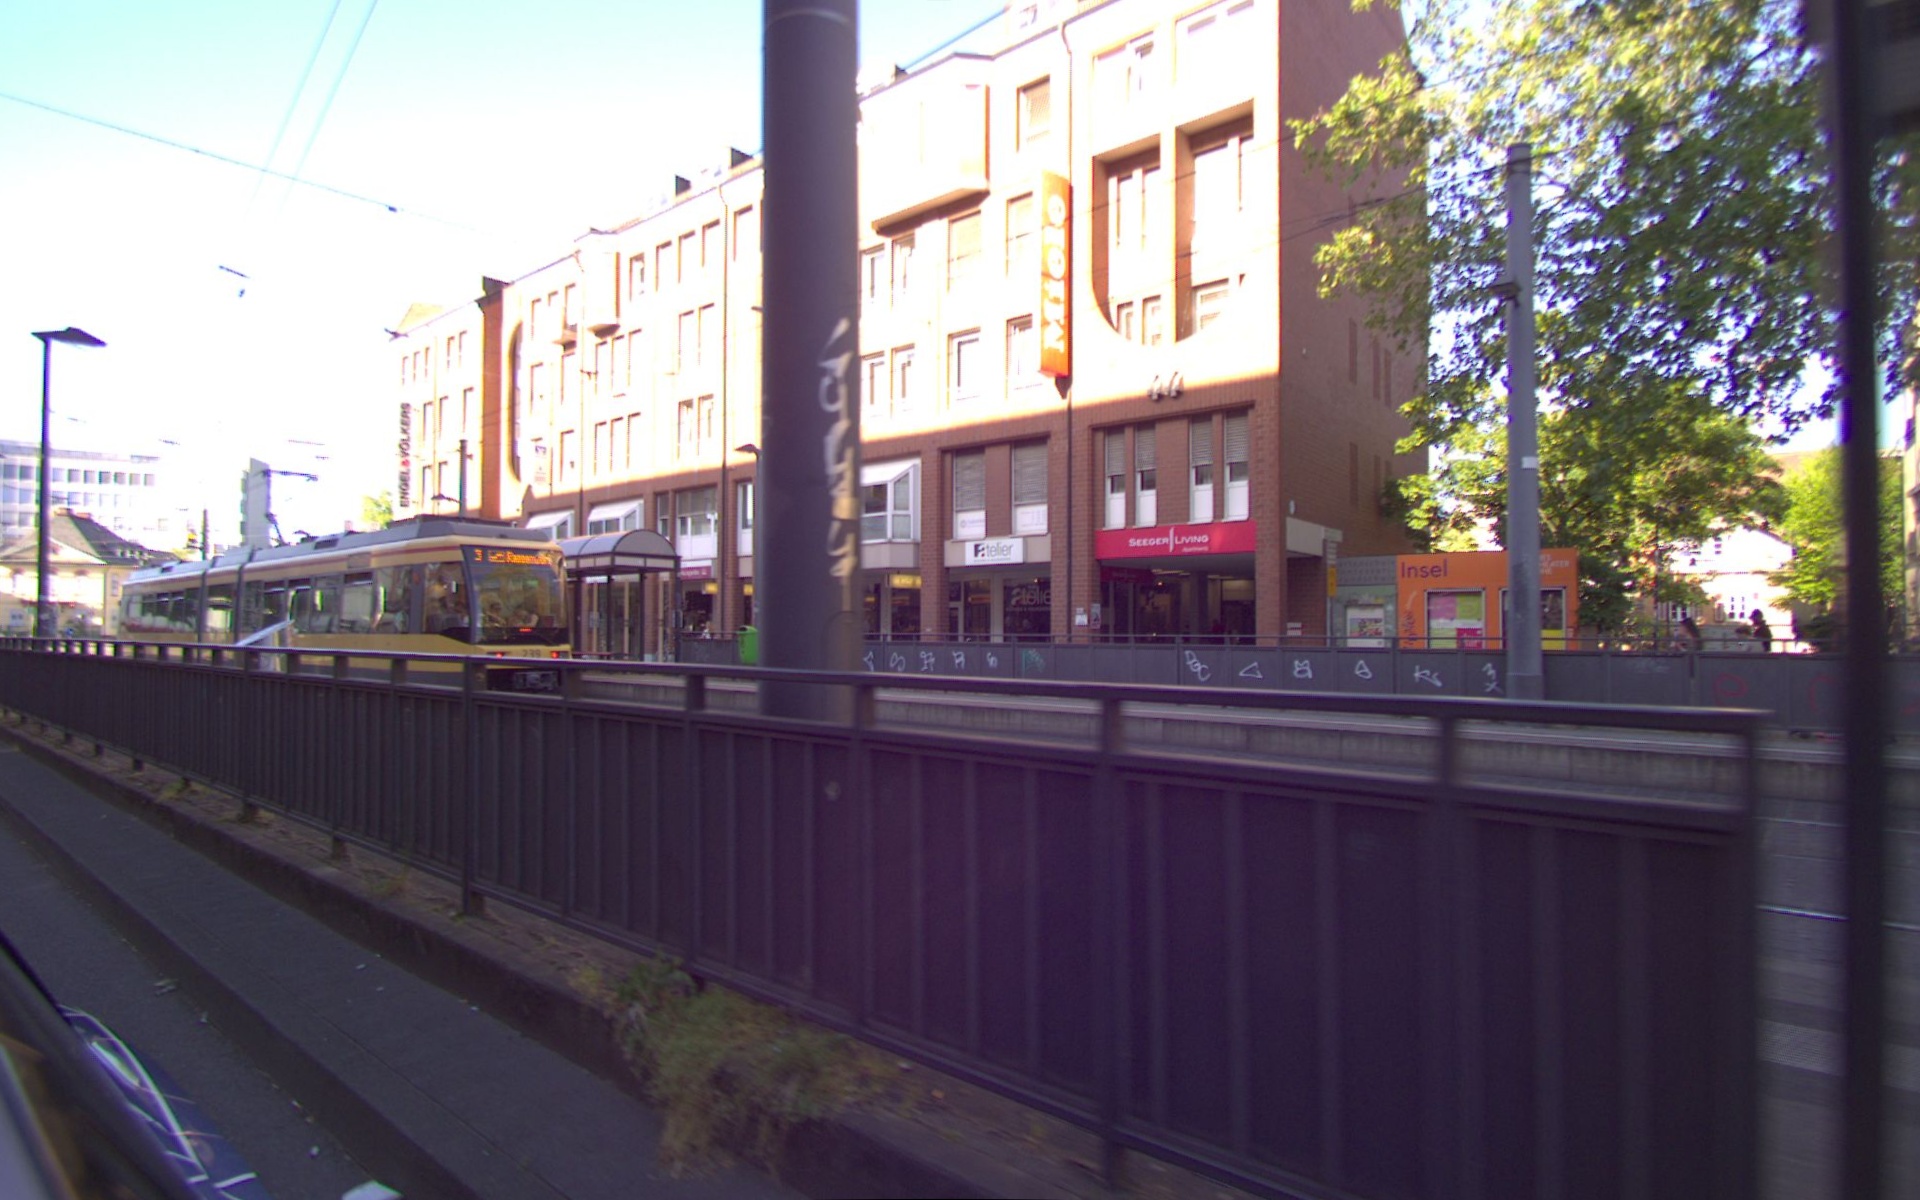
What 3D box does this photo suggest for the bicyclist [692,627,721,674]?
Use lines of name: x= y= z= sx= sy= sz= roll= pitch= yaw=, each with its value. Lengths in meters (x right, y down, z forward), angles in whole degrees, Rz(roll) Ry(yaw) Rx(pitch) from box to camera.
bicyclist: x=-8.042 y=1.592 z=32.115 sx=0.840 sy=1.478 sz=0.500 roll=-2 pitch=-2 yaw=41

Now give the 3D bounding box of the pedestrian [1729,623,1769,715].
pedestrian: x=13.698 y=1.180 z=17.571 sx=0.474 sy=1.541 sz=0.577 roll=-2 pitch=-2 yaw=41

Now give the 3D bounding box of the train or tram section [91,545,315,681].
train or tram section: x=-25.091 y=0.469 z=33.014 sx=13.935 sy=3.672 sz=2.943 roll=-2 pitch=0 yaw=41

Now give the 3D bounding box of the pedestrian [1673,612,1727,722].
pedestrian: x=12.518 y=1.109 z=17.119 sx=0.648 sy=1.819 sz=0.679 roll=-2 pitch=-2 yaw=41

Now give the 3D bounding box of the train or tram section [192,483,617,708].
train or tram section: x=-13.557 y=0.157 z=23.046 sx=16.475 sy=3.672 sz=2.943 roll=-2 pitch=-1 yaw=41

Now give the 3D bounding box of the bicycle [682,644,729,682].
bicycle: x=-8.097 y=1.988 z=32.154 sx=1.813 sy=1.123 sz=0.500 roll=-2 pitch=-2 yaw=41

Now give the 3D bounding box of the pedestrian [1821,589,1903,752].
pedestrian: x=11.675 y=0.888 z=13.096 sx=0.679 sy=2.029 sz=0.703 roll=1 pitch=-2 yaw=-45

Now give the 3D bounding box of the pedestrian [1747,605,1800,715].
pedestrian: x=14.364 y=1.038 z=17.865 sx=0.626 sy=1.896 sz=0.698 roll=-2 pitch=-2 yaw=44
